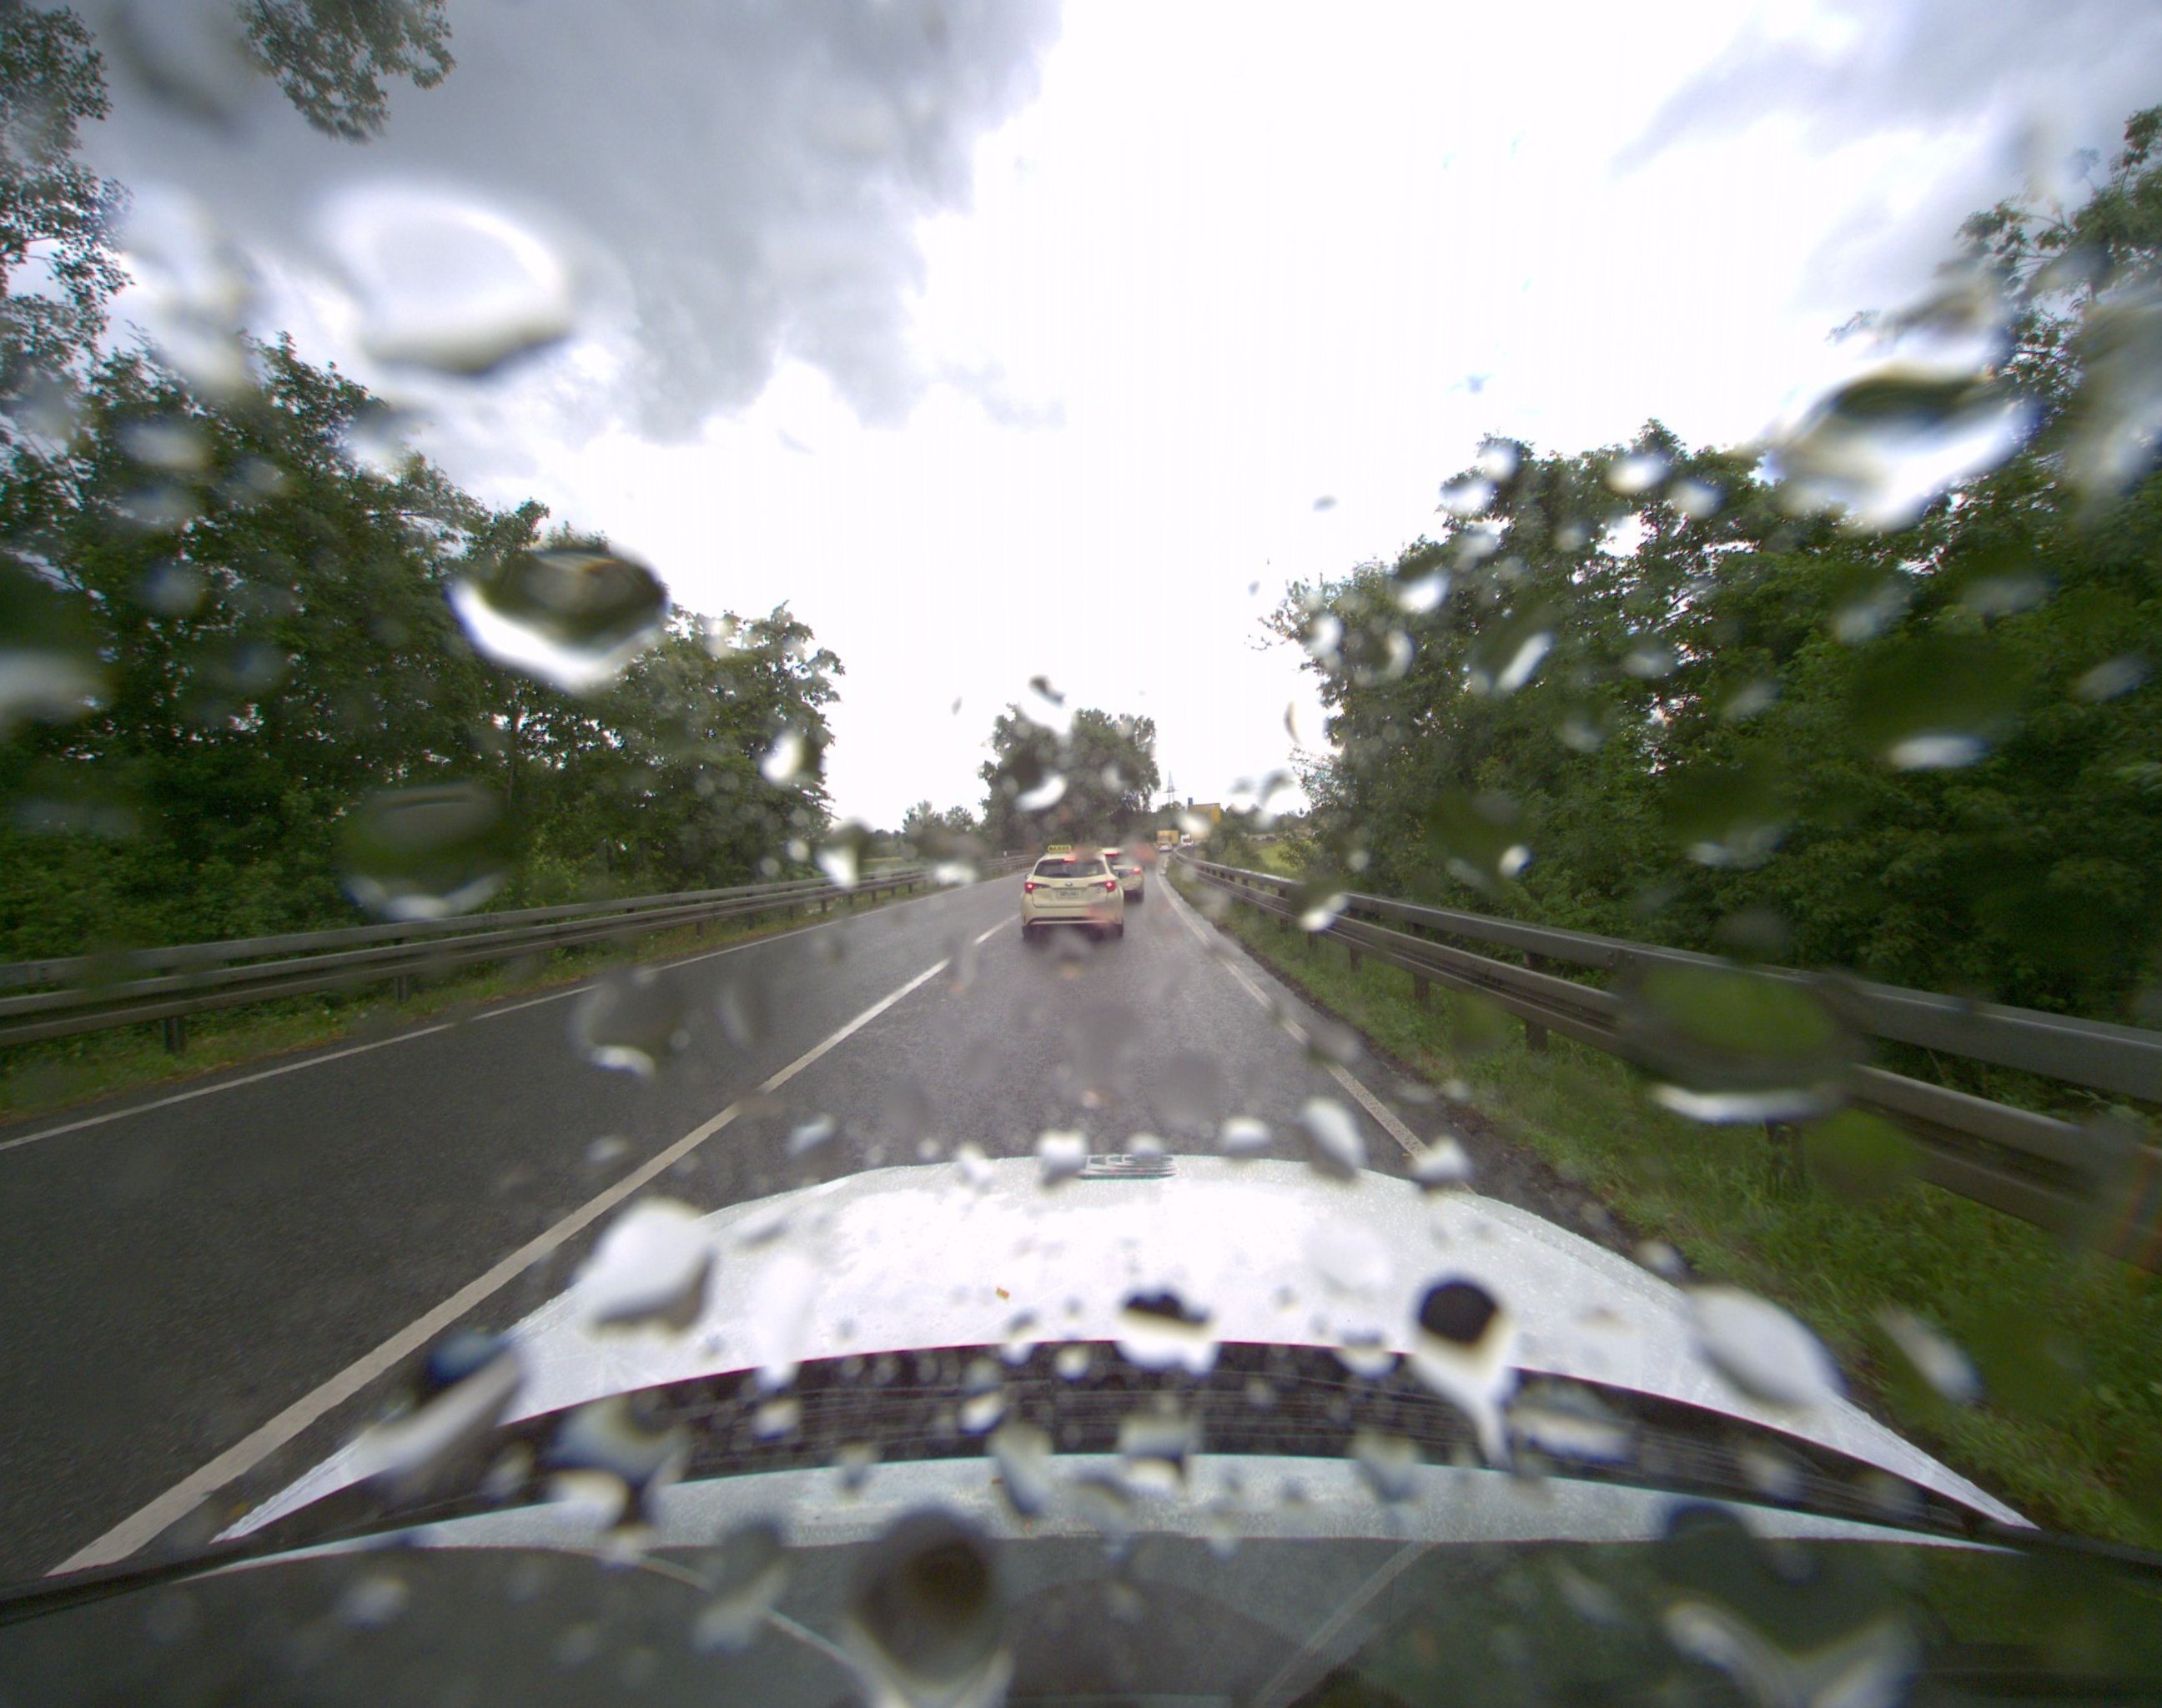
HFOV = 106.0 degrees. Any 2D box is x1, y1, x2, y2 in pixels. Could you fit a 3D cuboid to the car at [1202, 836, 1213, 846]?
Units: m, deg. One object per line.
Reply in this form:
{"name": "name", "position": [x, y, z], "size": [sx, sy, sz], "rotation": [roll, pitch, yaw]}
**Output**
{"name": "car", "position": [24.353, -2.501, 156.258], "size": [1.720, 1.819, 4.014], "rotation": [-1, 0, 13]}

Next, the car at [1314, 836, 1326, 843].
{"name": "car", "position": [73.015, -4.536, 248.769], "size": [2.120, 2.013, 4.025], "rotation": [-1, 0, 38]}

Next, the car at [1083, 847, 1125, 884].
{"name": "car", "position": [1.012, 0.453, 34.191], "size": [1.498, 1.437, 3.361], "rotation": [-1, 0, 6]}

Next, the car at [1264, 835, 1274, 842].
{"name": "car", "position": [50.038, -4.030, 216.676], "size": [1.801, 1.838, 4.013], "rotation": [-1, 0, 28]}

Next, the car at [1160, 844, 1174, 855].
{"name": "car", "position": [11.417, -0.594, 107.707], "size": [1.473, 1.309, 3.487], "rotation": [-1, 0, 11]}

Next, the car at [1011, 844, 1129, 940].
{"name": "car", "position": [-0.082, 0.602, 15.295], "size": [1.898, 1.537, 4.164], "rotation": [-1, 0, 3]}

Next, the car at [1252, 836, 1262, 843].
{"name": "car", "position": [44.051, -3.615, 203.804], "size": [1.903, 1.838, 4.022], "rotation": [-1, 0, 22]}

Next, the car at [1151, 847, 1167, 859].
{"name": "car", "position": [8.665, -0.117, 90.668], "size": [1.473, 1.309, 3.486], "rotation": [-1, 0, 10]}

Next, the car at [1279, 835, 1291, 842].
{"name": "car", "position": [56.446, -4.240, 225.530], "size": [1.974, 2.013, 4.026], "rotation": [-1, 0, 34]}

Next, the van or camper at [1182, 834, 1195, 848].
{"name": "van or camper", "position": [18.020, -2.121, 136.432], "size": [1.980, 2.254, 4.013], "rotation": [-1, 0, 12]}

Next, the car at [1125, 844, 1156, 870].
{"name": "car", "position": [3.468, 0.159, 47.821], "size": [1.659, 1.464, 3.478], "rotation": [-1, 0, 2]}

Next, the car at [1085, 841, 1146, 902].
{"name": "car", "position": [1.042, 0.443, 23.250], "size": [1.571, 1.572, 3.685], "rotation": [-1, 0, 4]}

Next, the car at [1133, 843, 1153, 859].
{"name": "car", "position": [5.549, -0.243, 72.677], "size": [1.651, 1.409, 3.911], "rotation": [-1, 0, 7]}

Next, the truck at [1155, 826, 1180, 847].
{"name": "truck", "position": [15.094, -3.078, 141.976], "size": [2.750, 3.428, 9.227], "rotation": [1, 3, 15]}
